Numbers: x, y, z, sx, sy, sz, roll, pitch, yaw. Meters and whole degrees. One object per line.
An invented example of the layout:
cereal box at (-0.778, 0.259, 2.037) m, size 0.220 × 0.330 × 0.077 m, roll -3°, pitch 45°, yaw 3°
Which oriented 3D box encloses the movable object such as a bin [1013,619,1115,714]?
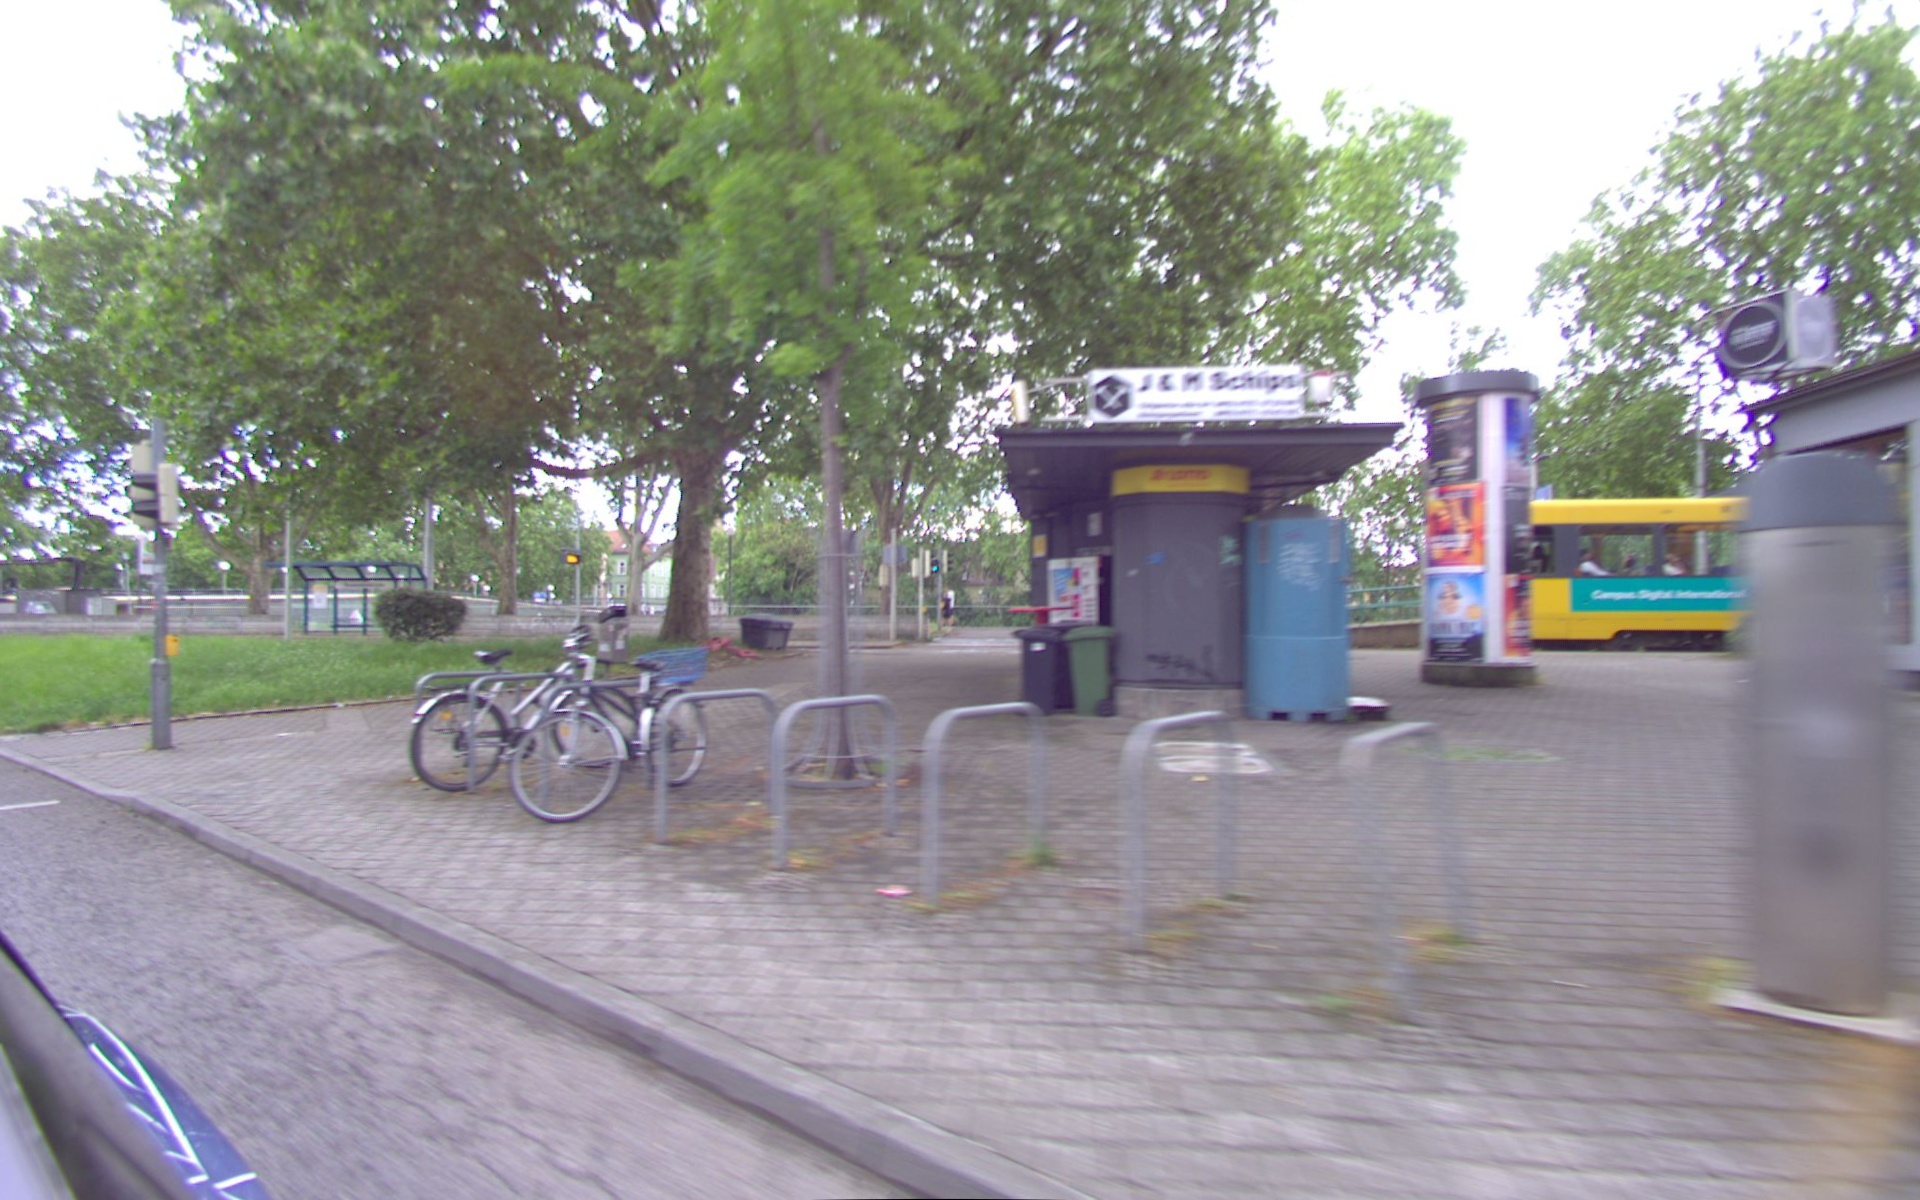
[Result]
movable object such as a bin at (1.201, 0.754, 11.778) m, size 1.099 × 0.972 × 0.967 m, roll -2°, pitch 2°, yaw 5°

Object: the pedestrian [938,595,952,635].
pedestrian at (-0.646, 0.629, 42.679) m, size 0.528 × 1.635 × 0.501 m, roll 1°, pitch 2°, yaw 6°

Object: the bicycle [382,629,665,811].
bicycle at (-3.217, 0.824, 7.607) m, size 0.578 × 1.122 × 1.848 m, roll -1°, pitch 1°, yaw 45°

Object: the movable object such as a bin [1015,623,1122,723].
movable object such as a bin at (1.153, 0.768, 10.865) m, size 1.066 × 0.972 × 0.672 m, roll -2°, pitch 2°, yaw 5°

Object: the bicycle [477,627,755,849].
bicycle at (-2.200, 0.815, 6.747) m, size 0.720 × 1.185 × 1.793 m, roll -1°, pitch 1°, yaw 24°

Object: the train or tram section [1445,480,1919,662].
train or tram section at (17.038, -0.686, 22.386) m, size 10.876 × 3.699 × 2.919 m, roll 1°, pitch 2°, yaw 8°
